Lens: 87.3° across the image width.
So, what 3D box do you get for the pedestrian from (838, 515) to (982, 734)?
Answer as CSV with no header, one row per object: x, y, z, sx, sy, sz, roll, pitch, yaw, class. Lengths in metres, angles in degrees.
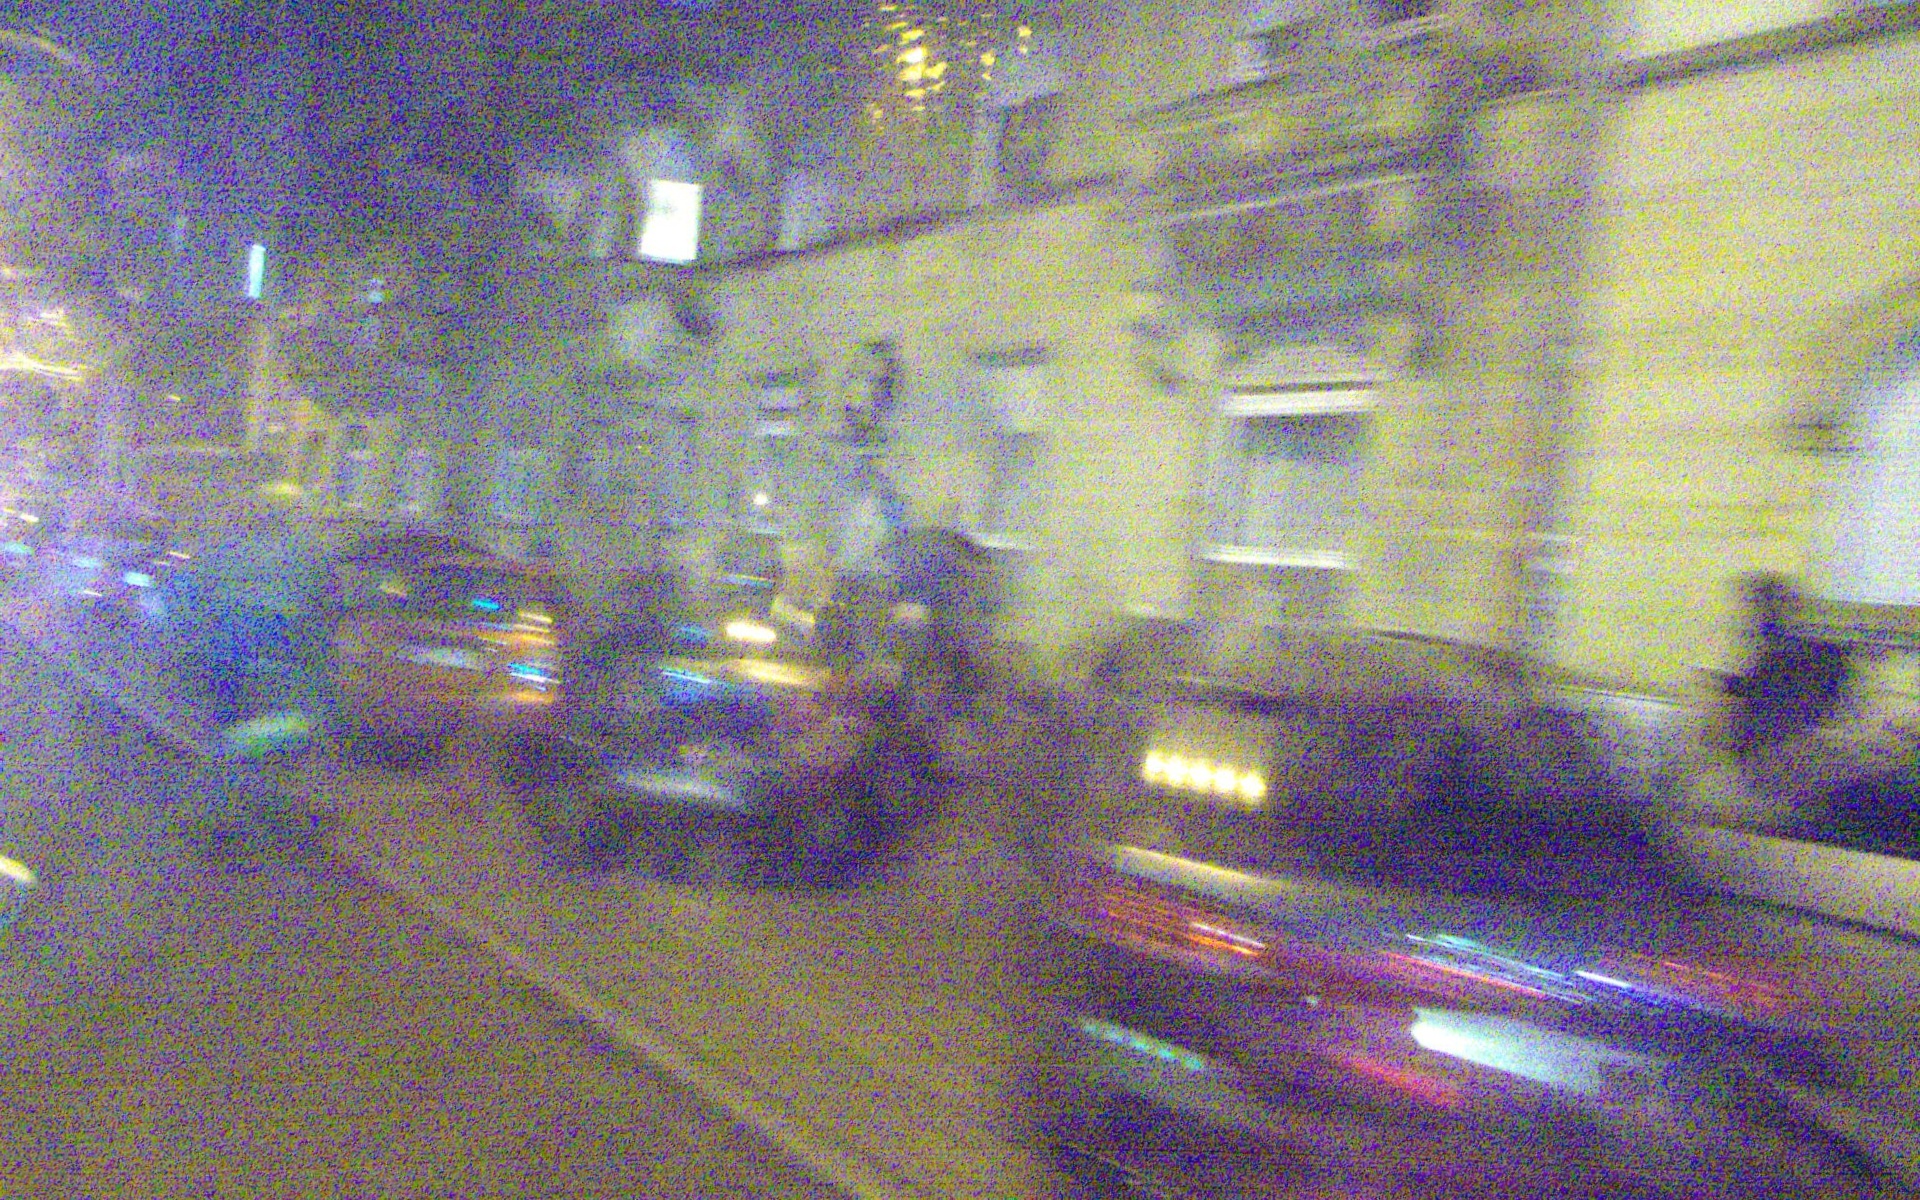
-0.464,0.218,9.321,0.858,1.865,0.744,10,4,39,pedestrian

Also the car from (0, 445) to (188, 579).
-19.254,-1.840,20.838,2.189,2.369,4.944,6,0,6,car

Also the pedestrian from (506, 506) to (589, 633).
-6.511,-0.473,15.872,0.830,1.865,0.744,10,4,39,pedestrian

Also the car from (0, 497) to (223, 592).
-17.119,-1.059,20.237,1.598,1.486,3.457,6,-1,10,car

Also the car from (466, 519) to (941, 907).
-1.225,0.541,6.308,1.605,1.580,3.484,6,0,7,car

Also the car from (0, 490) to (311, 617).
-12.816,-0.655,16.009,1.717,1.580,4.055,6,0,11,car

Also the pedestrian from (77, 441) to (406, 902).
-3.280,0.267,4.580,1.160,1.792,0.821,7,0,40,pedestrian

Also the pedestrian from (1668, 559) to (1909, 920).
4.623,0.734,5.666,0.772,1.814,0.654,10,4,39,pedestrian

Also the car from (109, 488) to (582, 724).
-5.691,0.088,9.969,1.801,1.710,3.805,6,0,10,car

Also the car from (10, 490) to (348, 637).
-10.356,-0.404,13.698,1.564,1.580,3.513,6,0,5,car

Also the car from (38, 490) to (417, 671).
-8.000,-0.157,11.412,1.564,1.580,3.398,6,0,3,car

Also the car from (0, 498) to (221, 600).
-15.674,-0.896,18.064,1.582,1.486,3.733,7,-1,9,car

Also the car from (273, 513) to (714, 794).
-3.353,0.364,7.998,1.607,1.580,3.398,6,0,4,car

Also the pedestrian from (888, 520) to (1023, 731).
-0.046,0.247,9.966,0.830,1.930,0.744,10,4,39,pedestrian

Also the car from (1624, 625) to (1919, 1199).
3.250,0.982,2.028,1.564,1.612,3.396,6,1,4,car

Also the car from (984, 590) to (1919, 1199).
0.983,0.814,3.879,1.564,1.510,4.113,6,1,3,car
